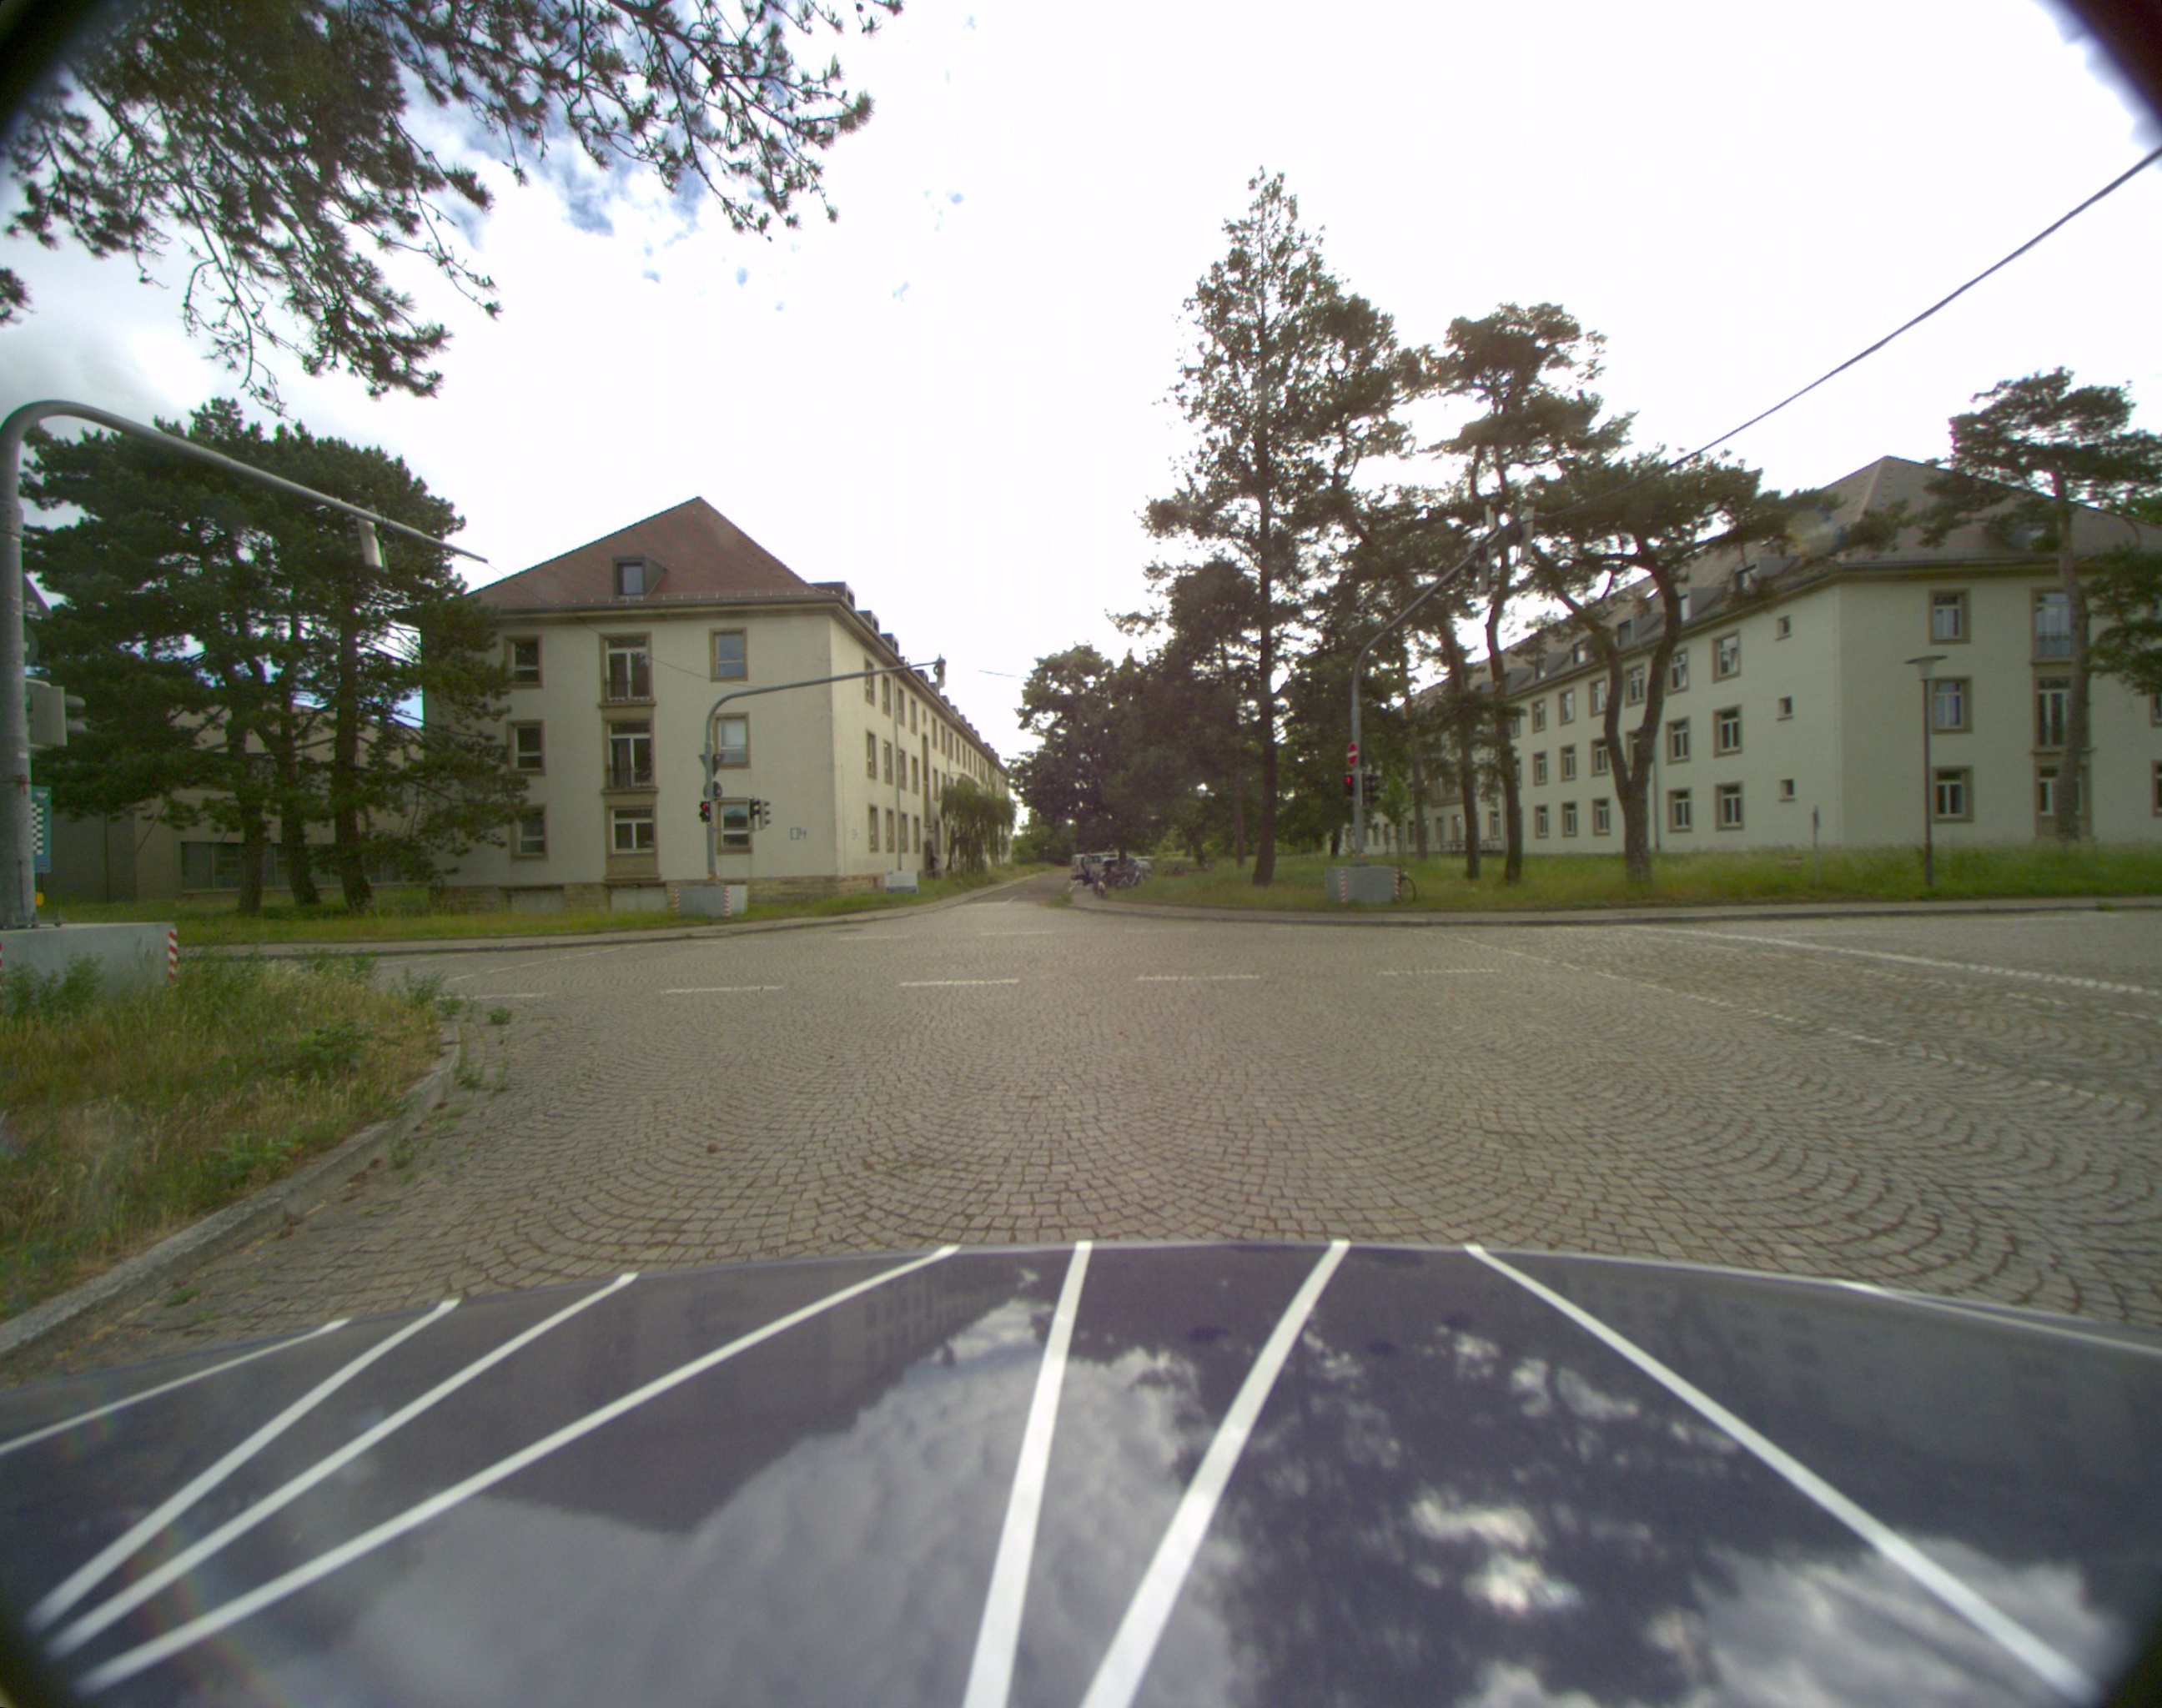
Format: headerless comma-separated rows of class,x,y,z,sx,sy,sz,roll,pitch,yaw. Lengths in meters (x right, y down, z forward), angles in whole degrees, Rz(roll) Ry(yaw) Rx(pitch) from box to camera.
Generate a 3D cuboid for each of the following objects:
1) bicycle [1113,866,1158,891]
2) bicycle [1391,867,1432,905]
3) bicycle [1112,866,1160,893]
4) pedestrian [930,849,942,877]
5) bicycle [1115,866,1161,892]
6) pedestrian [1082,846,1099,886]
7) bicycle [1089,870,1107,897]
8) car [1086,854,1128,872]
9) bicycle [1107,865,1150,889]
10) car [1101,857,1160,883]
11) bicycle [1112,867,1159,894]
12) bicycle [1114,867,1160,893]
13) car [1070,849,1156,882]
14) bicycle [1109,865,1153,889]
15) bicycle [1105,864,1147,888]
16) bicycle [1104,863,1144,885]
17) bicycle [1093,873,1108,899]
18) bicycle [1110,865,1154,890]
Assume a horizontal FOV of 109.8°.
bicycle,2.445,1.088,34.114,1.950,1.058,0.562,-2,0,-1
bicycle,8.351,0.792,19.218,0.294,0.911,1.052,-2,0,-21
bicycle,2.341,1.092,32.453,1.950,1.104,0.562,-2,0,-1
pedestrian,-9.057,0.562,47.493,0.568,1.691,0.532,-1,1,4
bicycle,2.524,1.094,33.627,1.950,1.058,0.562,-2,0,-1
pedestrian,0.473,0.600,37.411,0.793,1.926,0.588,-1,1,1
bicycle,0.680,1.169,30.323,0.459,0.968,1.664,-1,0,9
car,2.146,0.751,63.878,3.439,1.440,1.913,-2,0,-1
bicycle,2.224,1.065,35.785,1.950,1.058,0.562,-2,0,-1
car,2.988,0.960,46.685,3.439,1.440,1.913,-2,0,-1
bicycle,2.278,1.125,31.899,1.898,1.058,0.616,-2,0,-1
bicycle,2.430,1.106,32.981,1.950,1.058,0.562,-2,0,-1
car,2.062,0.726,50.333,5.366,1.987,2.289,-2,0,-7
bicycle,2.320,1.071,35.237,1.950,1.058,0.562,-2,0,-1
bicycle,2.166,1.057,36.494,1.950,1.058,0.562,-2,0,-1
bicycle,2.165,1.029,38.498,1.950,1.058,0.562,-2,0,-1
bicycle,0.738,1.177,28.500,0.459,0.903,1.663,-1,0,5
bicycle,2.336,1.078,34.697,1.950,1.058,0.562,-2,0,-1
